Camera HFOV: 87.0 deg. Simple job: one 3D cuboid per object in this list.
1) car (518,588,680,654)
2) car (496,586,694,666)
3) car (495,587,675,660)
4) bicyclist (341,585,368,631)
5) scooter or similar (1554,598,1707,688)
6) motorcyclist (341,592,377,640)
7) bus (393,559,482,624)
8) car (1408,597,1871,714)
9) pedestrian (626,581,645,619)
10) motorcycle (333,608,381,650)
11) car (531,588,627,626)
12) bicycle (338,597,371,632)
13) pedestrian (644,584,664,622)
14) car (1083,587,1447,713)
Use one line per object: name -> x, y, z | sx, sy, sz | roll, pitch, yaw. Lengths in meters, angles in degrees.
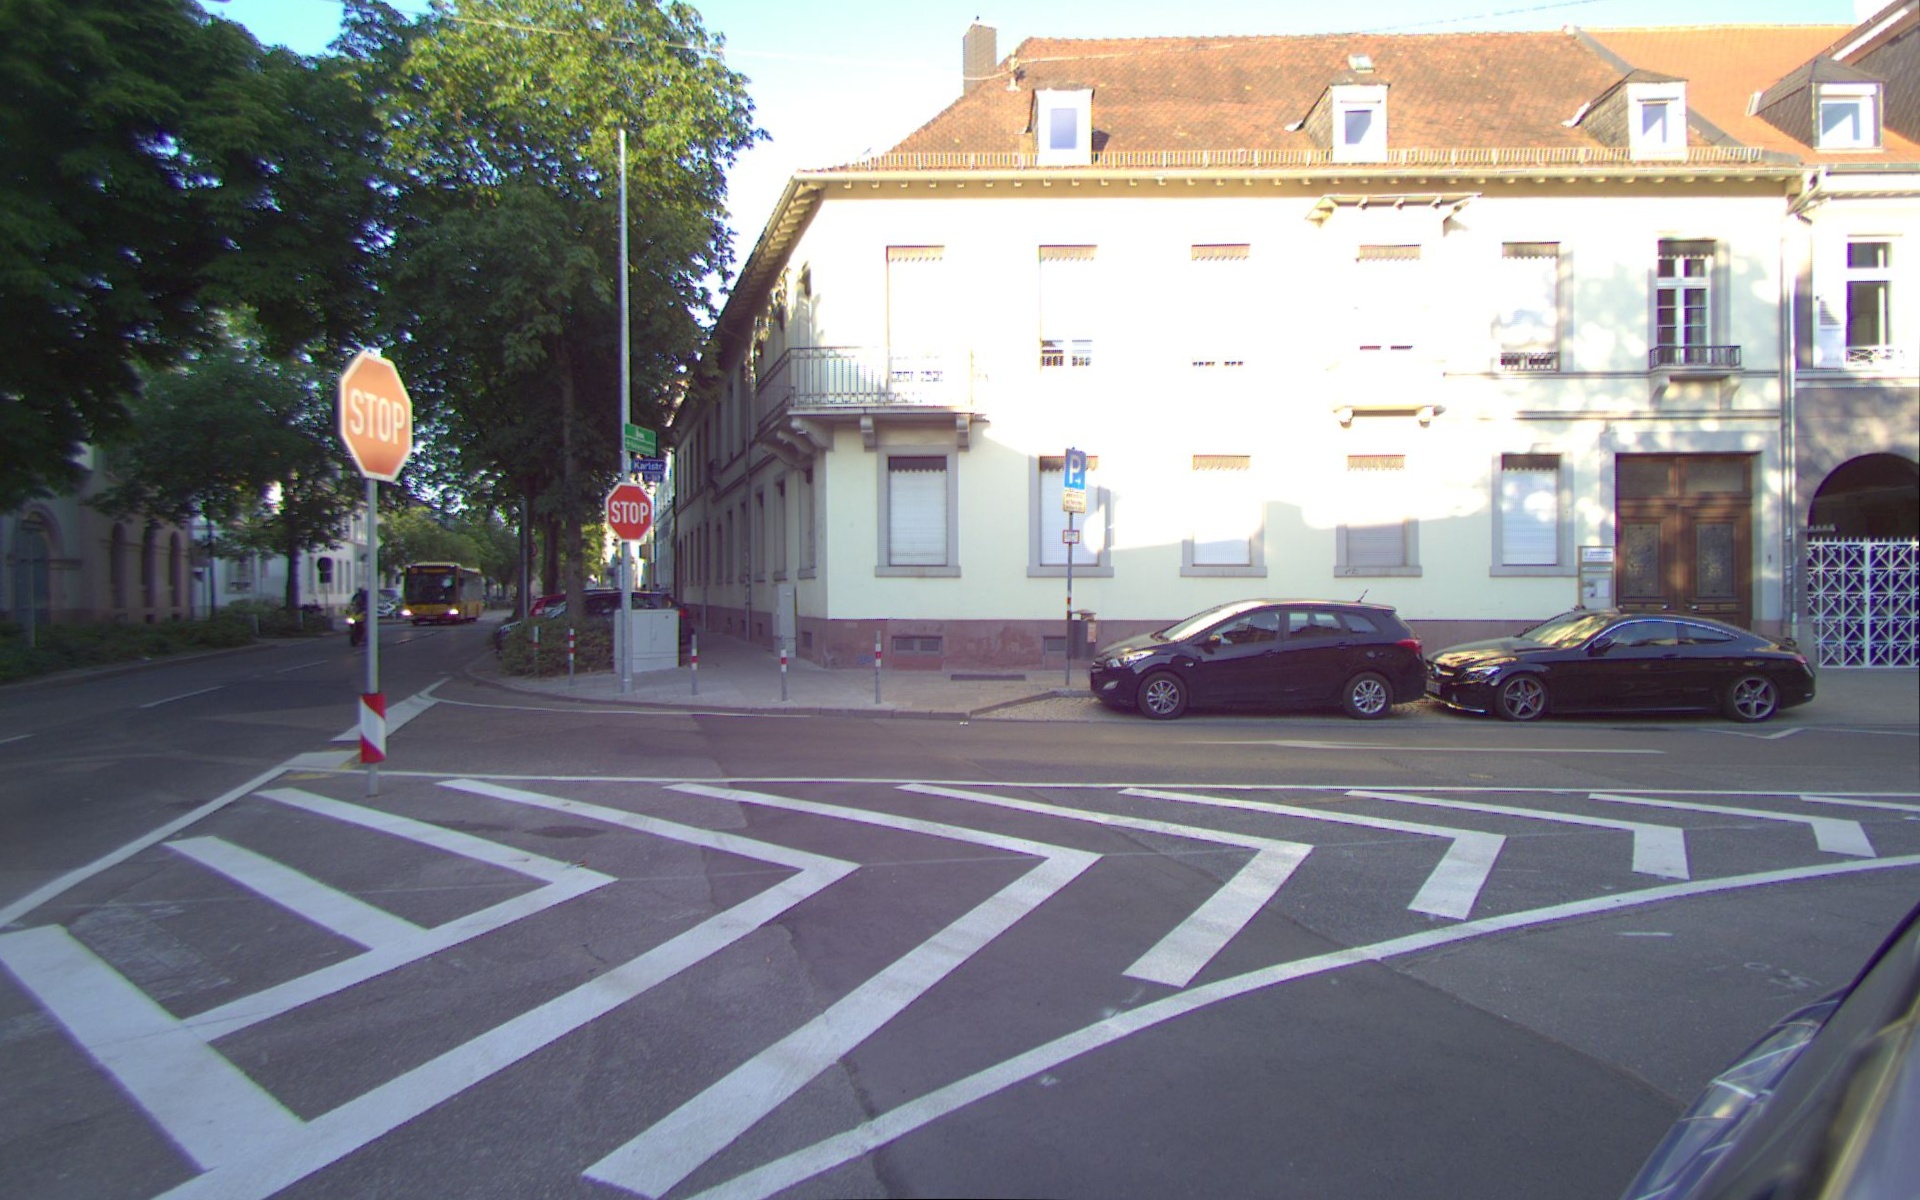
car -> -9.542, 0.512, 26.774 | 3.916, 1.635, 1.727 | 0, 0, -22
car -> -7.958, 0.511, 22.169 | 3.916, 1.635, 1.832 | 0, 0, -22
car -> -8.998, 0.512, 24.376 | 3.916, 1.635, 1.727 | 0, 0, -22
bicyclist -> -24.881, 0.321, 41.610 | 0.767, 1.862, 0.828 | -2, 1, -21
scooter or similar -> 9.794, 0.615, 14.844 | 1.743, 1.248, 0.602 | 0, 3, 13
motorcyclist -> -18.412, 0.475, 31.017 | 0.777, 1.438, 0.700 | -2, 1, -15
bus -> -27.667, -0.470, 54.064 | 2.657, 3.038, 12.106 | -2, 1, -20
car -> 8.705, 0.683, 13.330 | 4.770, 1.412, 1.777 | 0, -1, 4
pedestrian -> -15.591, 0.009, 48.643 | 0.790, 1.793, 1.023 | 0, 0, -21
motorcycle -> -18.347, 0.850, 30.841 | 0.777, 1.175, 1.971 | -2, 1, -16
car -> -17.070, 0.289, 45.370 | 3.916, 1.635, 1.727 | 0, 0, -22
bicycle -> -24.884, 0.585, 41.645 | 0.767, 1.346, 2.082 | -2, 1, -21
pedestrian -> -14.803, 0.148, 48.947 | 0.876, 1.793, 1.023 | 0, 0, -21
car -> 3.923, 0.628, 13.637 | 4.349, 1.561, 1.806 | 0, -1, 3
